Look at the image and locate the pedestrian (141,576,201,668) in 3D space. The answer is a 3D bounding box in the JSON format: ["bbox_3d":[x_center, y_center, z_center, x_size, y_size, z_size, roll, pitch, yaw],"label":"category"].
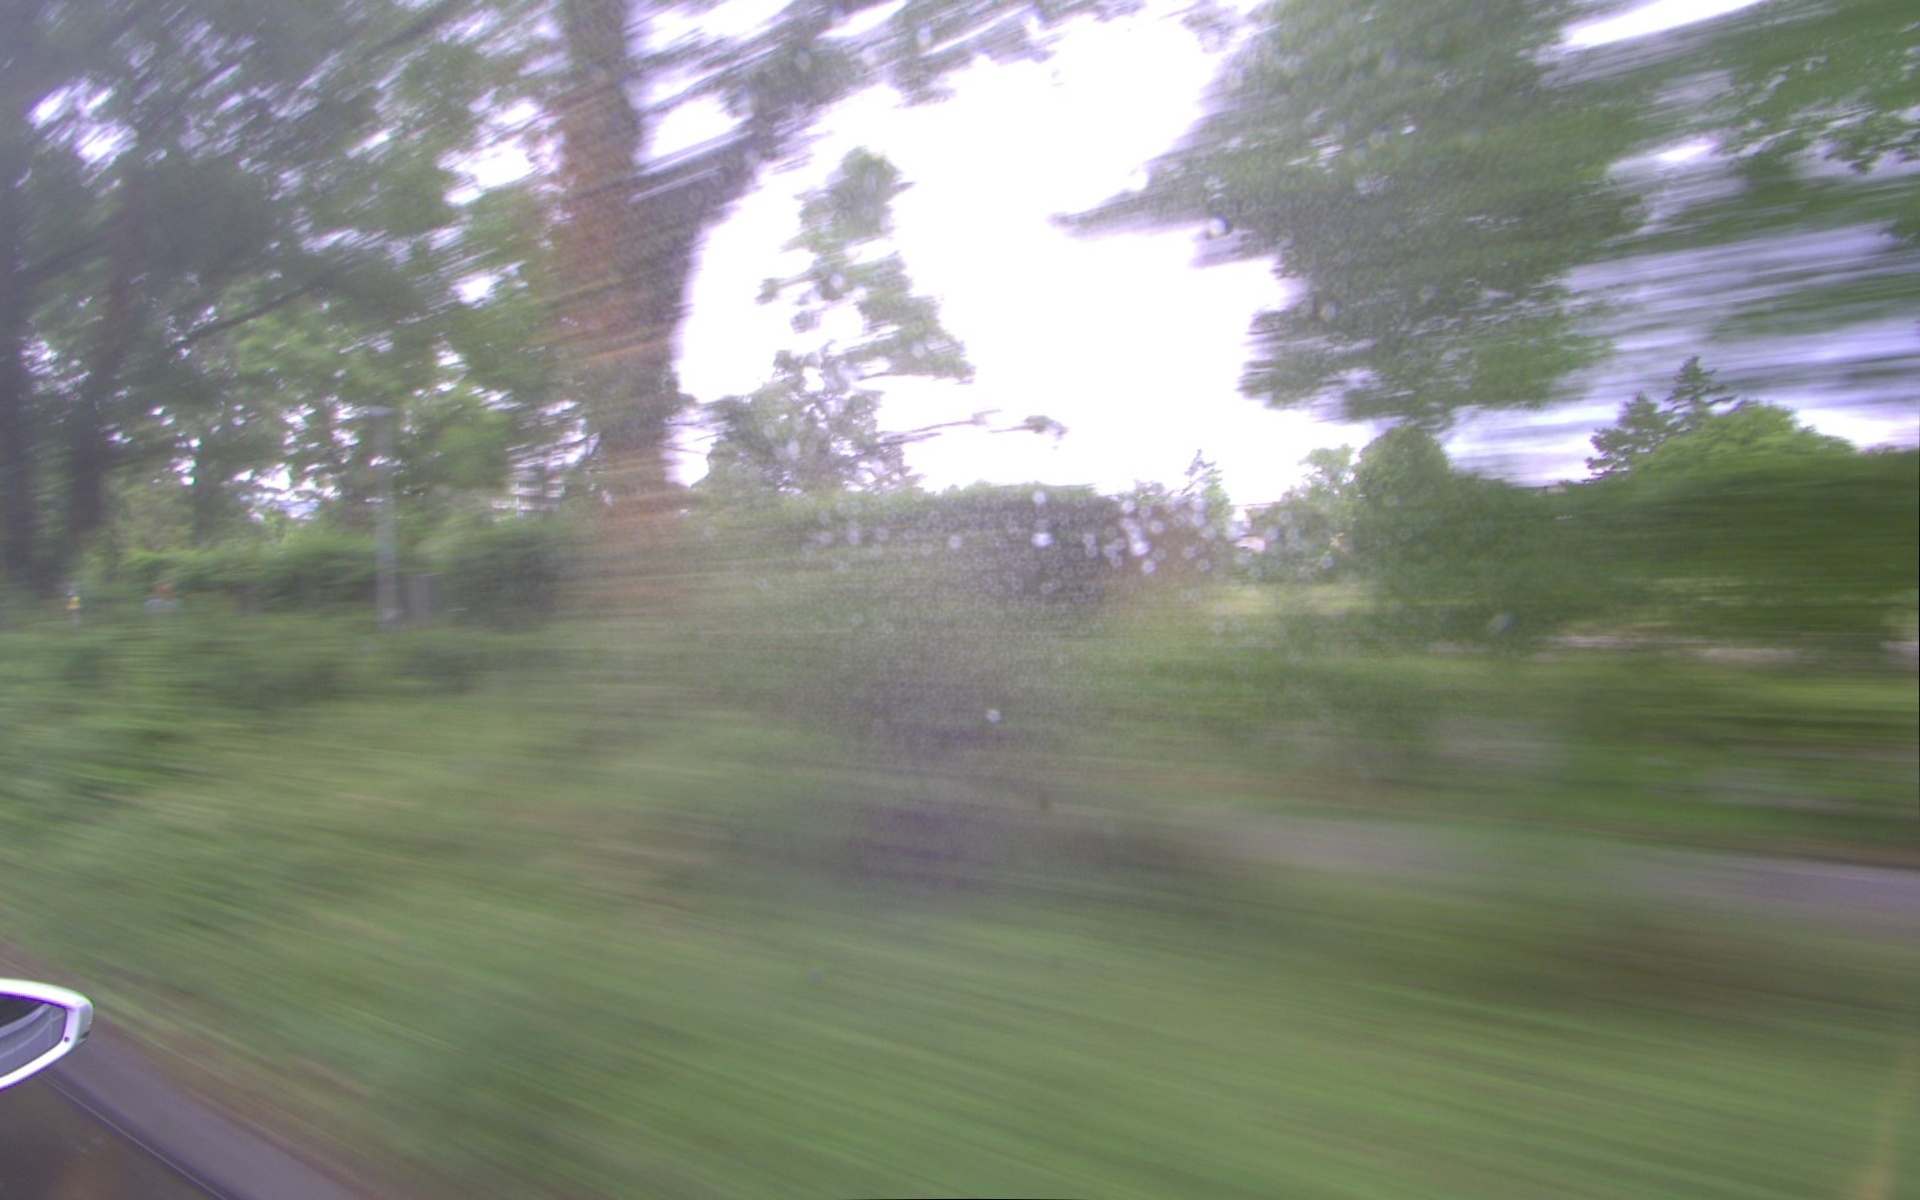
[{"bbox_3d":[-14.712,0.405,18.670,0.808,1.674,0.571,0,2,32],"label":"pedestrian"}]
